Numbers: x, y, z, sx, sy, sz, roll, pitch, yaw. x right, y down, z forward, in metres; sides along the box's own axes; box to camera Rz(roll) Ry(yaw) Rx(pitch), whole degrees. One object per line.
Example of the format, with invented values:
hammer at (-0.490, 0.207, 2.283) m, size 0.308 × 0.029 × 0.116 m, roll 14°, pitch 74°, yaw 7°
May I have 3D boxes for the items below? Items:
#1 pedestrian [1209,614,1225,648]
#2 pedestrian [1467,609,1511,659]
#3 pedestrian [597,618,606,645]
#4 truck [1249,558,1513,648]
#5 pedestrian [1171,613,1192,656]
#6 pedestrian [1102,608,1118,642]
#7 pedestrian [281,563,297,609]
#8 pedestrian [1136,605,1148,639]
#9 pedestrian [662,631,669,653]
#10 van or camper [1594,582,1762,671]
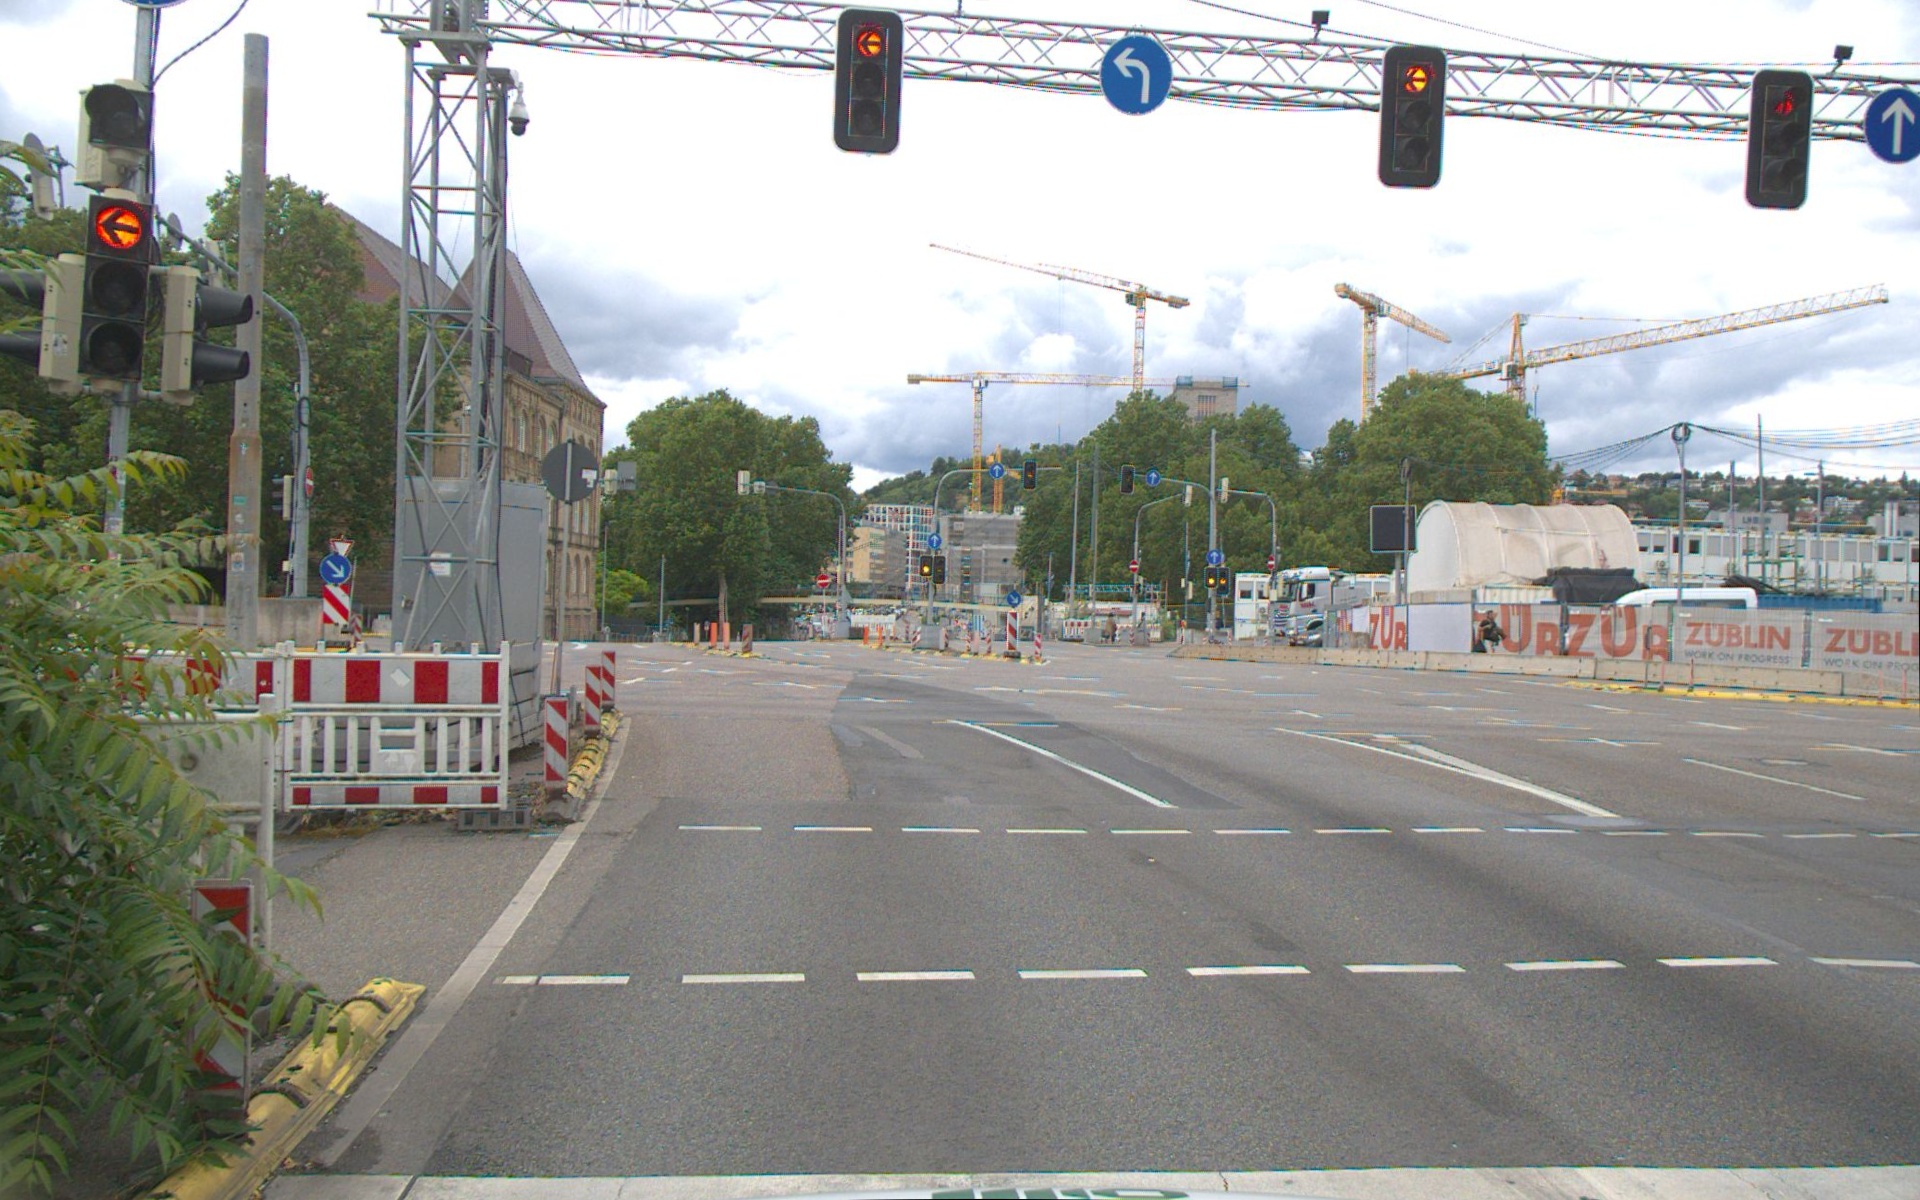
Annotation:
pedestrian at (13.250, 1.607, 85.245) m, size 0.609 × 1.718 × 0.710 m, roll 2°, pitch 0°, yaw 28°
pedestrian at (15.086, 0.964, 47.165) m, size 0.788 × 1.402 × 0.896 m, roll 2°, pitch 0°, yaw -29°
pedestrian at (-27.382, 2.428, 126.428) m, size 0.513 × 2.049 × 0.566 m, roll 1°, pitch 0°, yaw -1°
truck at (20.993, 0.164, 82.315) m, size 12.837 × 4.111 × 3.927 m, roll 1°, pitch 0°, yaw -21°
pedestrian at (9.061, 1.419, 67.646) m, size 0.714 × 1.718 × 0.677 m, roll 2°, pitch 0°, yaw -1°
pedestrian at (7.607, 1.257, 84.020) m, size 0.714 × 1.718 × 0.677 m, roll 2°, pitch 0°, yaw -1°
pedestrian at (-29.585, -0.617, 72.923) m, size 0.523 × 2.049 × 0.421 m, roll 2°, pitch 0°, yaw -44°
pedestrian at (9.410, 1.145, 85.530) m, size 0.555 × 1.718 × 0.471 m, roll 2°, pitch 0°, yaw -1°
pedestrian at (-27.568, 3.949, 154.870) m, size 0.513 × 2.049 × 0.566 m, roll 1°, pitch 0°, yaw -1°
van or camper at (20.725, 0.744, 47.906) m, size 4.123 × 2.398 × 2.002 m, roll 1°, pitch 0°, yaw 14°
